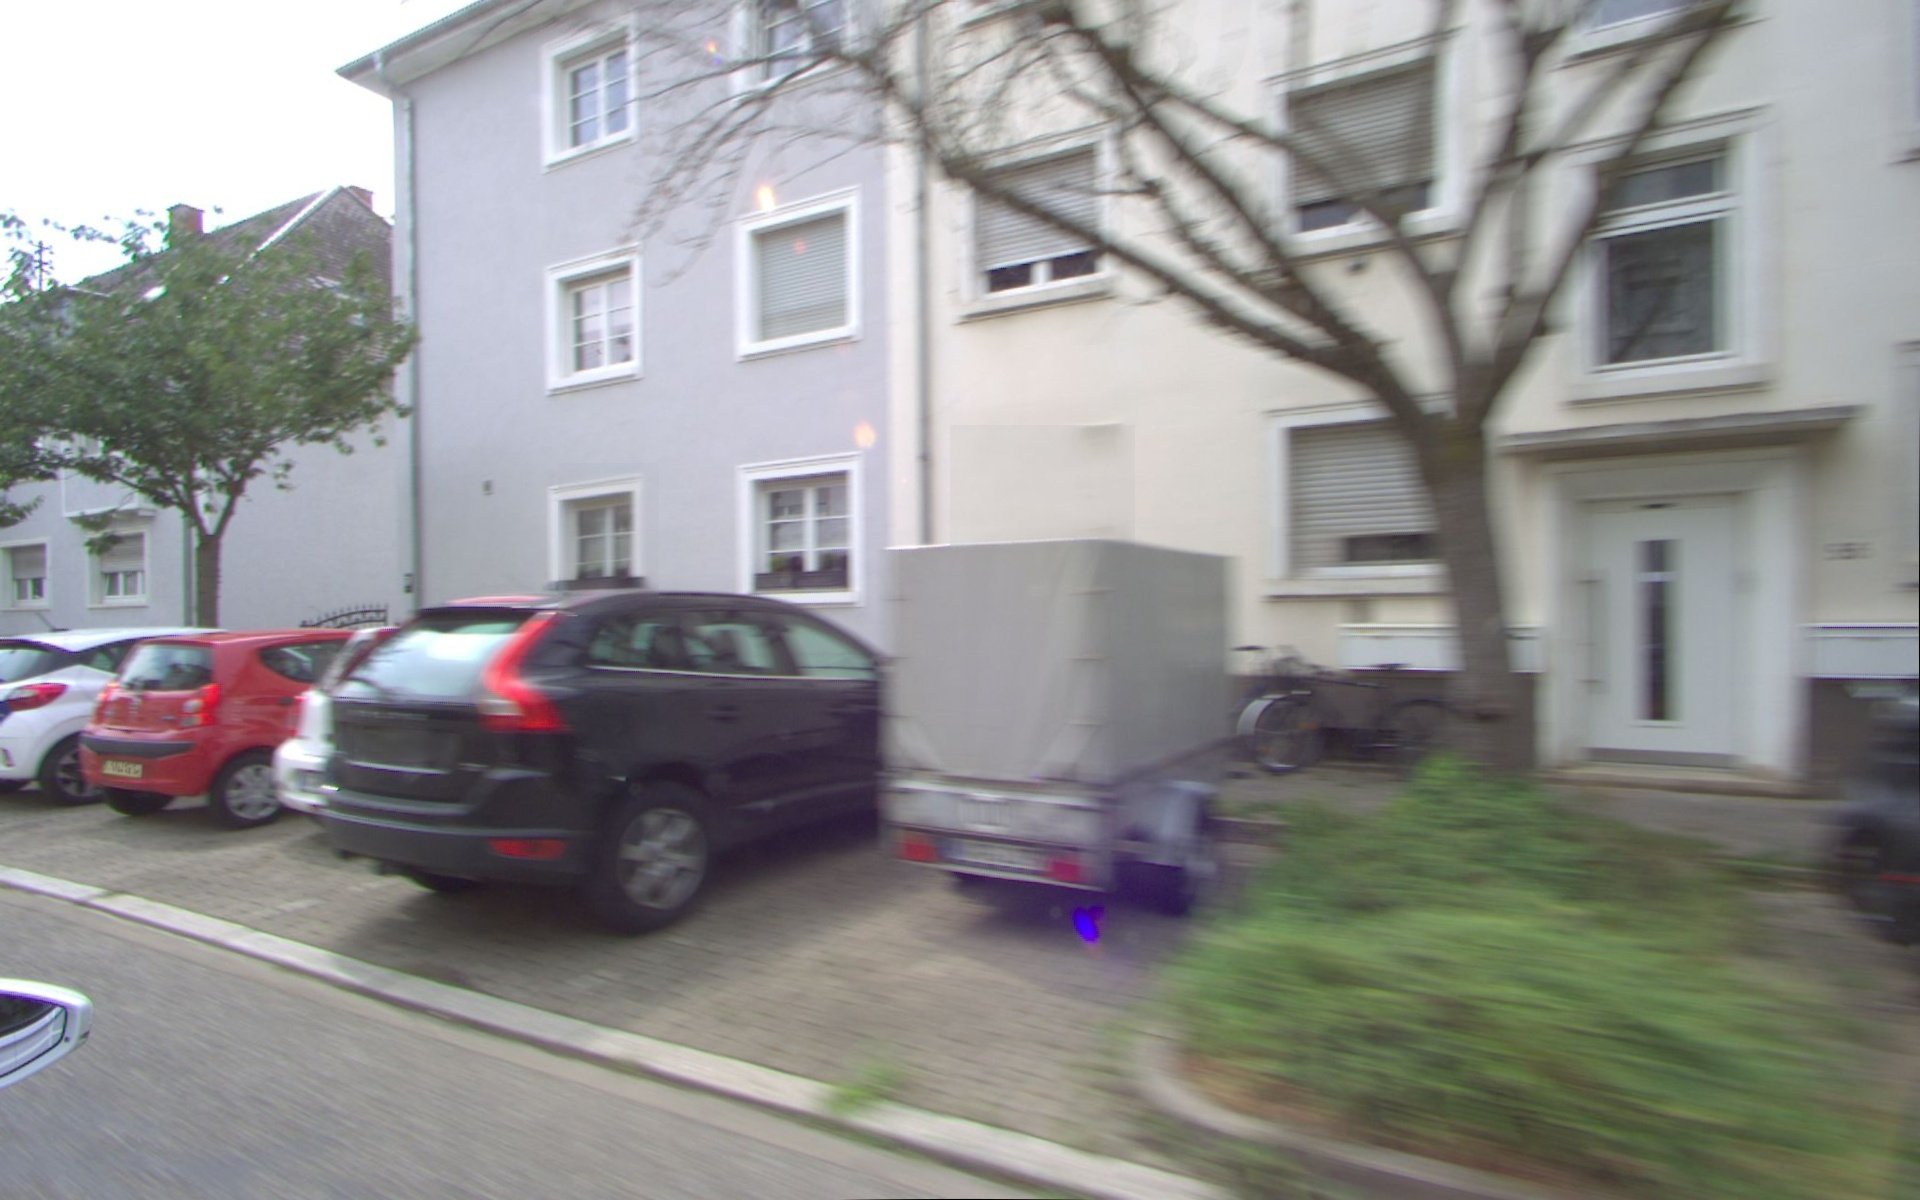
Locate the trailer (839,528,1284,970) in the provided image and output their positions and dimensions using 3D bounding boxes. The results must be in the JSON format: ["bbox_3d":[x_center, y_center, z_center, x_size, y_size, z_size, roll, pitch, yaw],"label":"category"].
[{"bbox_3d":[0.789,0.606,5.815,1.381,1.856,2.954,-1,1,32],"label":"trailer"}]

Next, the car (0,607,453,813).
[{"bbox_3d":[-7.562,0.919,10.232,1.740,1.550,3.984,-1,1,26],"label":"car"}]

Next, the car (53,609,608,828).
[{"bbox_3d":[-5.398,0.867,9.215,1.740,1.429,3.984,-1,1,26],"label":"car"}]

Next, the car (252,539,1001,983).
[{"bbox_3d":[-1.582,0.612,6.253,1.876,1.759,4.206,-1,1,31],"label":"car"}]

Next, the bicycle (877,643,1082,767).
[{"bbox_3d":[0.177,1.014,10.150,1.976,1.112,0.685,-1,1,31],"label":"bicycle"}]

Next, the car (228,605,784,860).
[{"bbox_3d":[-3.376,0.832,8.169,1.837,1.461,3.741,-1,1,30],"label":"car"}]

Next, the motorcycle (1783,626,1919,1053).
[{"bbox_3d":[3.757,0.822,3.627,0.704,1.428,2.225,0,-1,26],"label":"motorcycle"}]

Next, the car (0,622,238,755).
[{"bbox_3d":[-11.753,1.093,12.889,1.781,1.472,3.539,-1,1,28],"label":"car"}]

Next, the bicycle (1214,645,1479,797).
[{"bbox_3d":[3.214,0.953,8.395,1.976,1.112,0.685,-1,1,31],"label":"bicycle"}]
